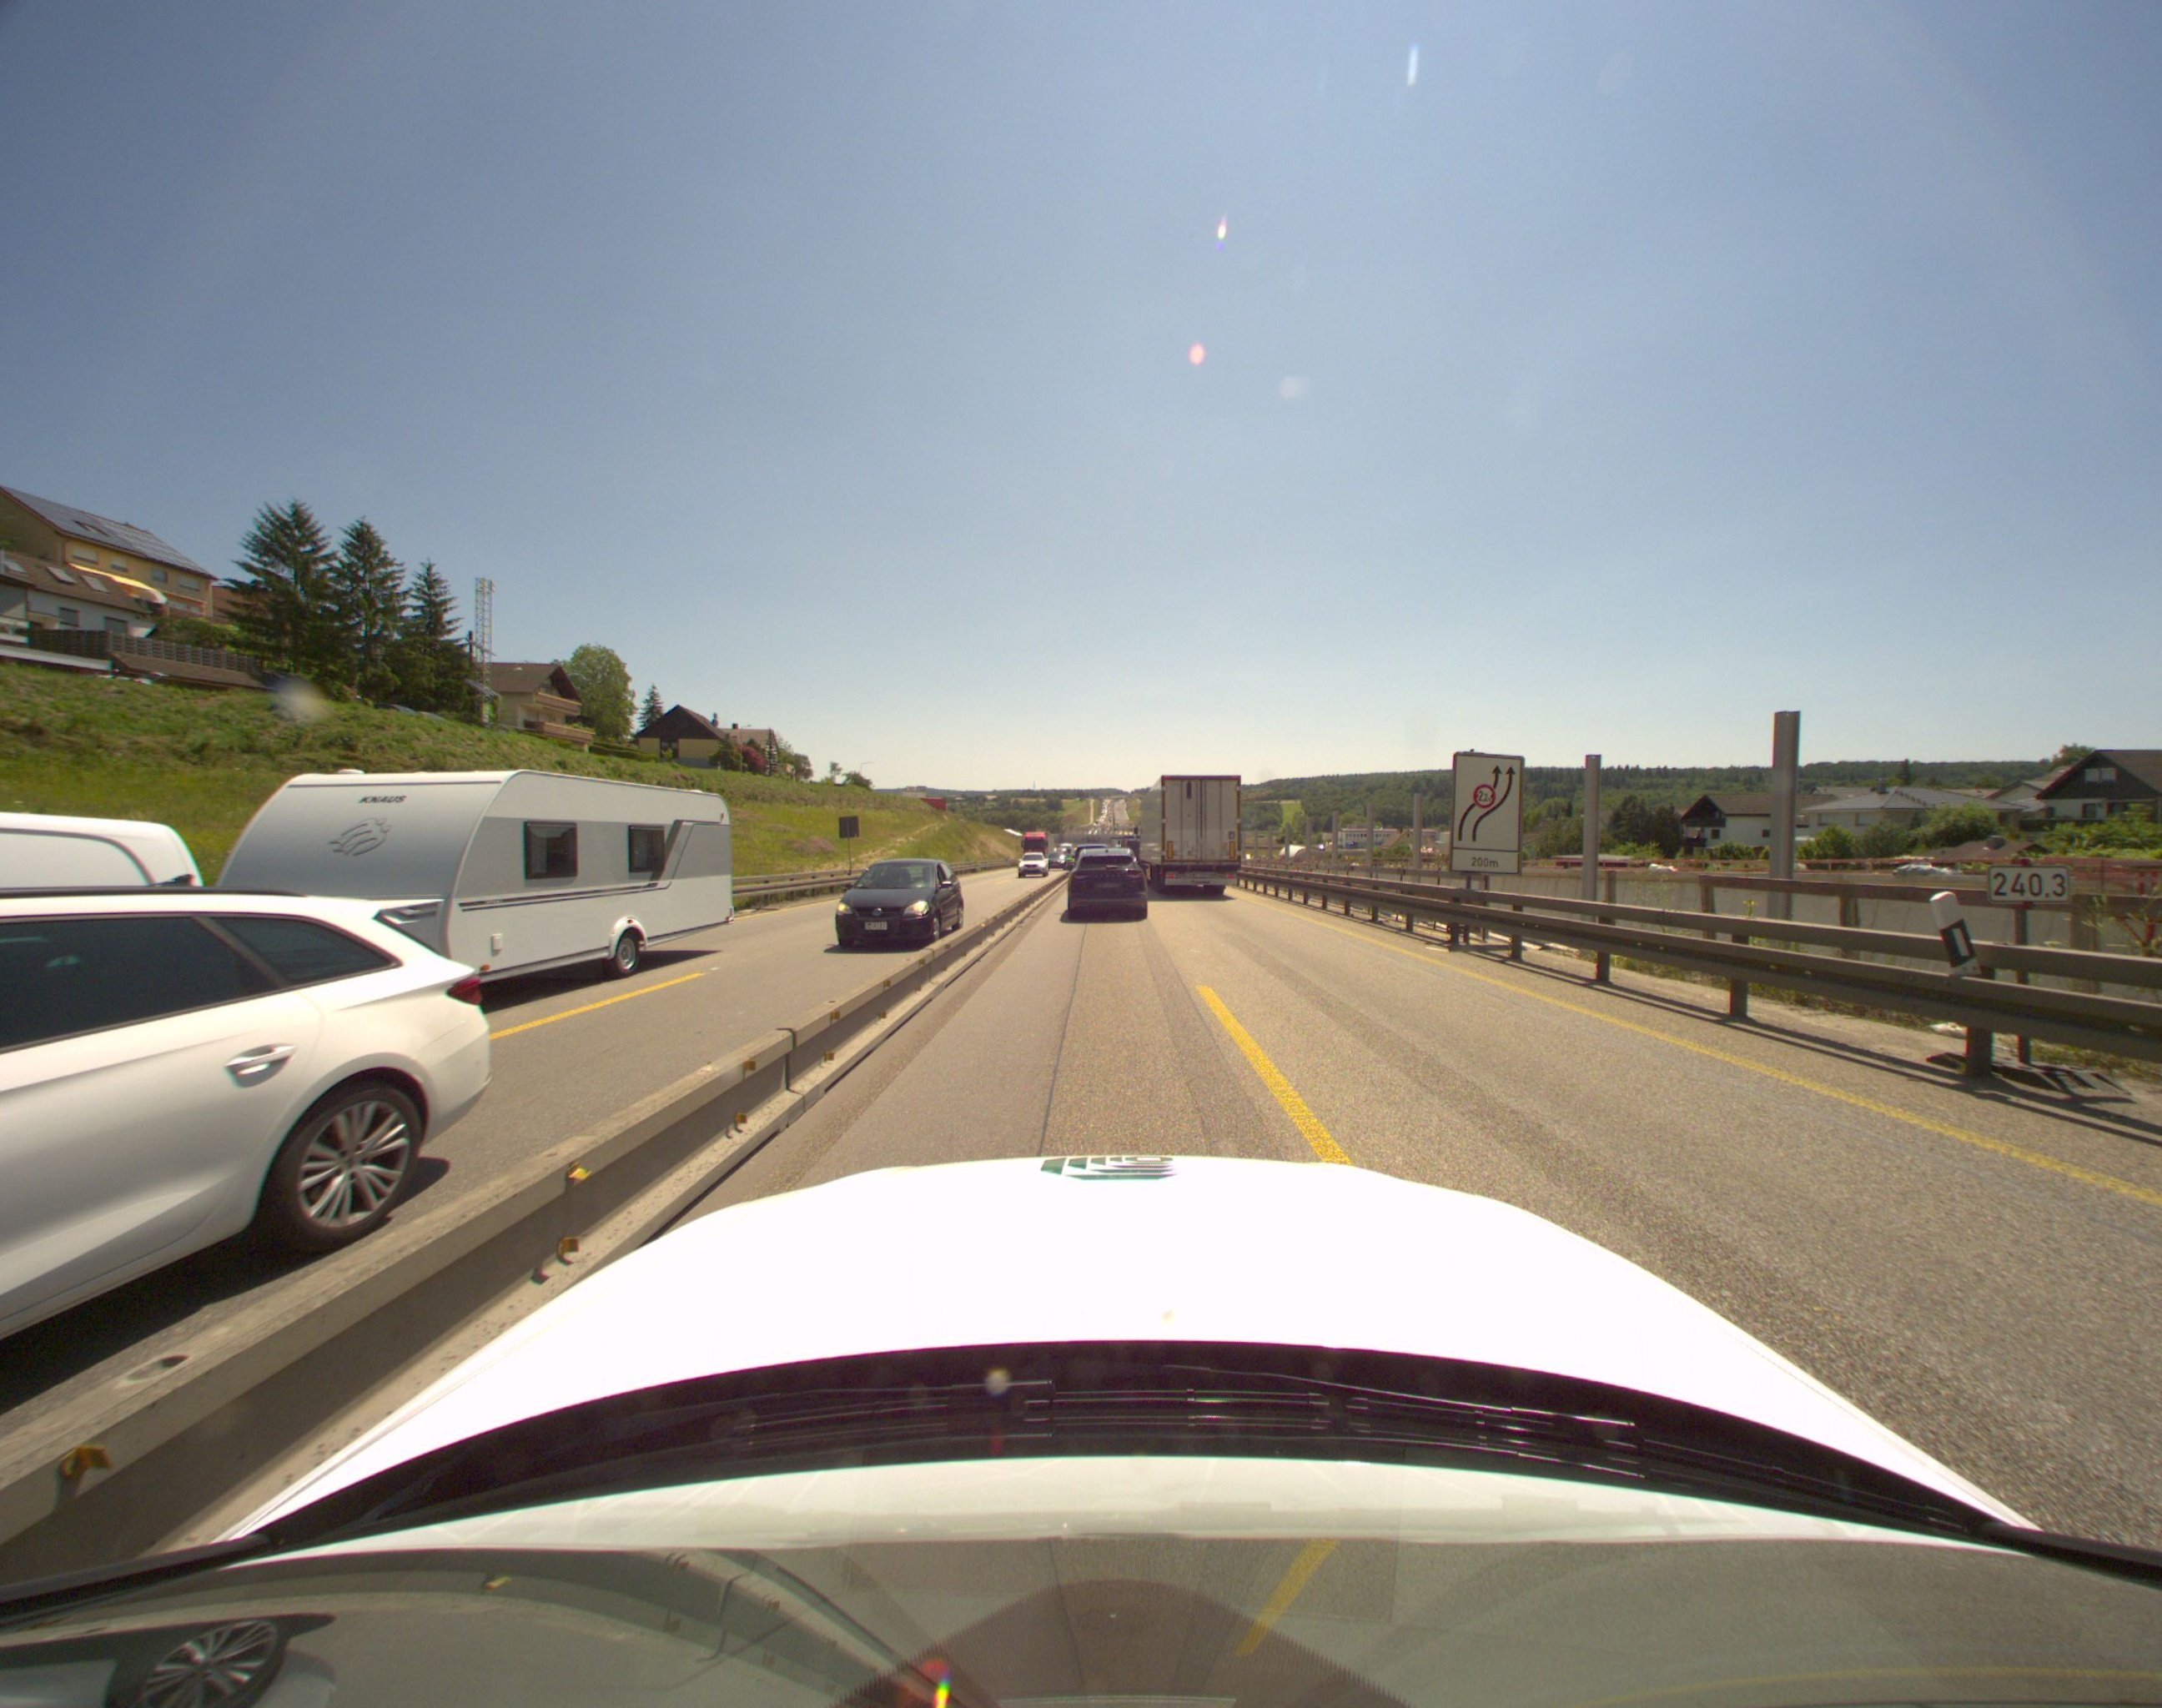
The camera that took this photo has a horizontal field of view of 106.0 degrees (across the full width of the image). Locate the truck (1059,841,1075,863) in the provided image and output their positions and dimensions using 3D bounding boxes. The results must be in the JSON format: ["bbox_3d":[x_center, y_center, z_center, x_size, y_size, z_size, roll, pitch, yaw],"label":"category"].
[{"bbox_3d":[-2.849,-0.351,168.981,2.842,4.338,11.917,0,-1,1],"label":"truck"}]

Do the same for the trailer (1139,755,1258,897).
[{"bbox_3d":[4.228,-0.933,32.600,3.169,4.513,13.112,0,0,1],"label":"trailer"}]

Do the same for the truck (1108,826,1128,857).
[{"bbox_3d":[5.774,-1.935,129.973,2.842,4.465,11.917,0,-1,1],"label":"truck"}]

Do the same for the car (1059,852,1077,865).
[{"bbox_3d":[-1.477,0.545,93.219,1.855,1.476,4.000,0,0,1],"label":"car"}]

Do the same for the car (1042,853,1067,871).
[{"bbox_3d":[-2.305,0.707,70.940,1.987,1.530,4.000,-1,0,1],"label":"car"}]

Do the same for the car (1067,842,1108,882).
[{"bbox_3d":[0.358,0.420,41.182,1.986,1.926,4.508,0,-1,1],"label":"car"}]

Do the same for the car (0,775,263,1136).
[{"bbox_3d":[-6.940,0.560,3.179,1.986,1.971,5.344,-1,0,2],"label":"car"}]

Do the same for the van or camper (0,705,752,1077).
[{"bbox_3d":[-6.856,0.261,9.855,2.348,2.676,7.860,-1,0,1],"label":"van or camper"}]

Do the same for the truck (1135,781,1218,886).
[{"bbox_3d":[4.376,-0.912,39.095,3.169,4.513,8.168,0,0,1],"label":"truck"}]

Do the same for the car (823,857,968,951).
[{"bbox_3d":[-3.140,0.781,14.499,1.660,1.413,3.817,0,0,0],"label":"car"}]

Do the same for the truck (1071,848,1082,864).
[{"bbox_3d":[-1.214,0.707,228.045,2.842,4.338,11.917,0,-1,1],"label":"truck"}]

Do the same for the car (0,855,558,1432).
[{"bbox_3d":[-3.745,0.759,1.959,1.906,1.480,4.637,-1,0,1],"label":"car"}]

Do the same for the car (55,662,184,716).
[{"bbox_3d":[-51.710,-8.834,43.922,1.983,2.014,4.007,-1,-1,7],"label":"car"}]

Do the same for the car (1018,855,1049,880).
[{"bbox_3d":[-2.950,0.823,51.419,1.787,1.518,3.997,-1,0,-1],"label":"car"}]

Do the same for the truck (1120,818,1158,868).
[{"bbox_3d":[5.381,-0.915,77.191,3.169,4.513,8.167,0,-1,1],"label":"truck"}]

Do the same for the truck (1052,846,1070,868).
[{"bbox_3d":[-3.498,0.583,145.609,2.842,3.782,11.917,0,-1,1],"label":"truck"}]

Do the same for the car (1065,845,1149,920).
[{"bbox_3d":[0.631,0.640,19.623,1.795,1.607,4.002,0,-1,2],"label":"car"}]

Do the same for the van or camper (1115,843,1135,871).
[{"bbox_3d":[5.510,0.446,101.633,2.378,3.281,6.474,-1,-1,3],"label":"van or camper"}]

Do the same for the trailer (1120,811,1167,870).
[{"bbox_3d":[5.161,-0.903,70.020,3.169,4.513,14.969,0,-1,1],"label":"trailer"}]

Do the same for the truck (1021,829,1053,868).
[{"bbox_3d":[-5.026,-0.494,94.995,2.842,4.140,11.917,0,-1,1],"label":"truck"}]
